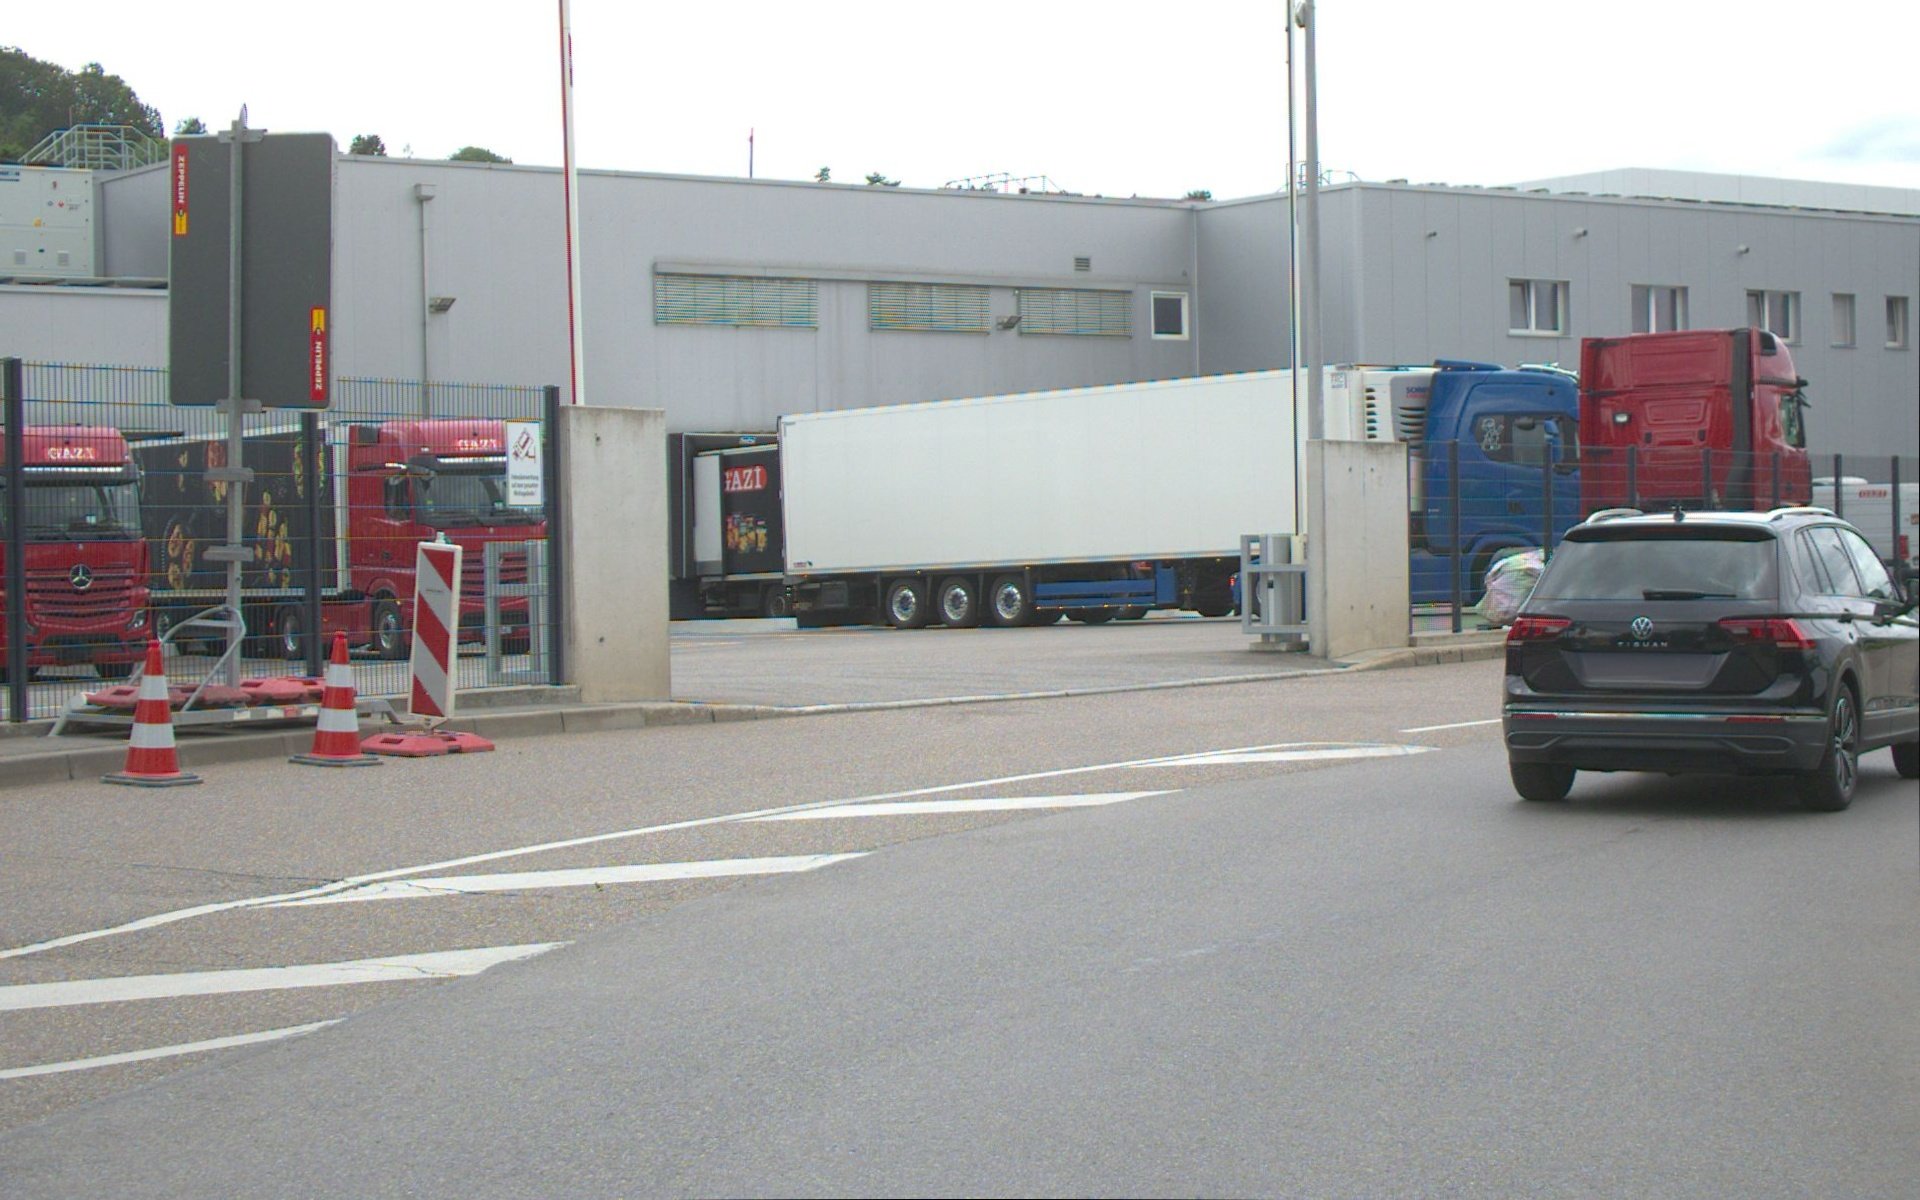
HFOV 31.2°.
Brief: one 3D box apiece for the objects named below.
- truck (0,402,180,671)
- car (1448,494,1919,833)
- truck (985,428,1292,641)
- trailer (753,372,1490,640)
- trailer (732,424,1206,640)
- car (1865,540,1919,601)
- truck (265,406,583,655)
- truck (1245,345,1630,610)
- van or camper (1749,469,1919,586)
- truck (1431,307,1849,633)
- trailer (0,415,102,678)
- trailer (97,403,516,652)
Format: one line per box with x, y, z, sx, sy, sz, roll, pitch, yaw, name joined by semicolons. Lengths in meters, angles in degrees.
-14.641;-0.920;53.296;2.794;3.915;5.924;-1;0;-36;truck
4.411;0.249;19.711;1.996;1.678;4.366;1;2;25;car
3.372;-1.223;66.371;2.793;3.915;5.924;-2;0;-35;truck
2.411;-1.436;59.540;14.007;4.169;3.029;-1;0;43;trailer
-0.127;-1.276;71.423;2.775;4.094;13.090;-2;0;-35;trailer
25.546;-0.793;88.394;1.994;1.547;3.999;-1;0;-37;car
-9.013;-1.091;57.350;2.794;3.915;5.924;-1;0;-36;truck
7.707;-1.905;55.266;5.602;4.007;2.928;-1;0;20;truck
22.276;-1.779;85.377;2.098;2.753;4.986;-1;0;-38;van or camper
9.238;-1.648;46.074;2.927;4.007;6.928;-1;0;35;truck
-17.935;-0.780;57.767;2.784;4.064;10.993;-1;0;-36;trailer
-11.864;-1.151;61.270;2.784;4.064;10.993;-1;0;-36;trailer
